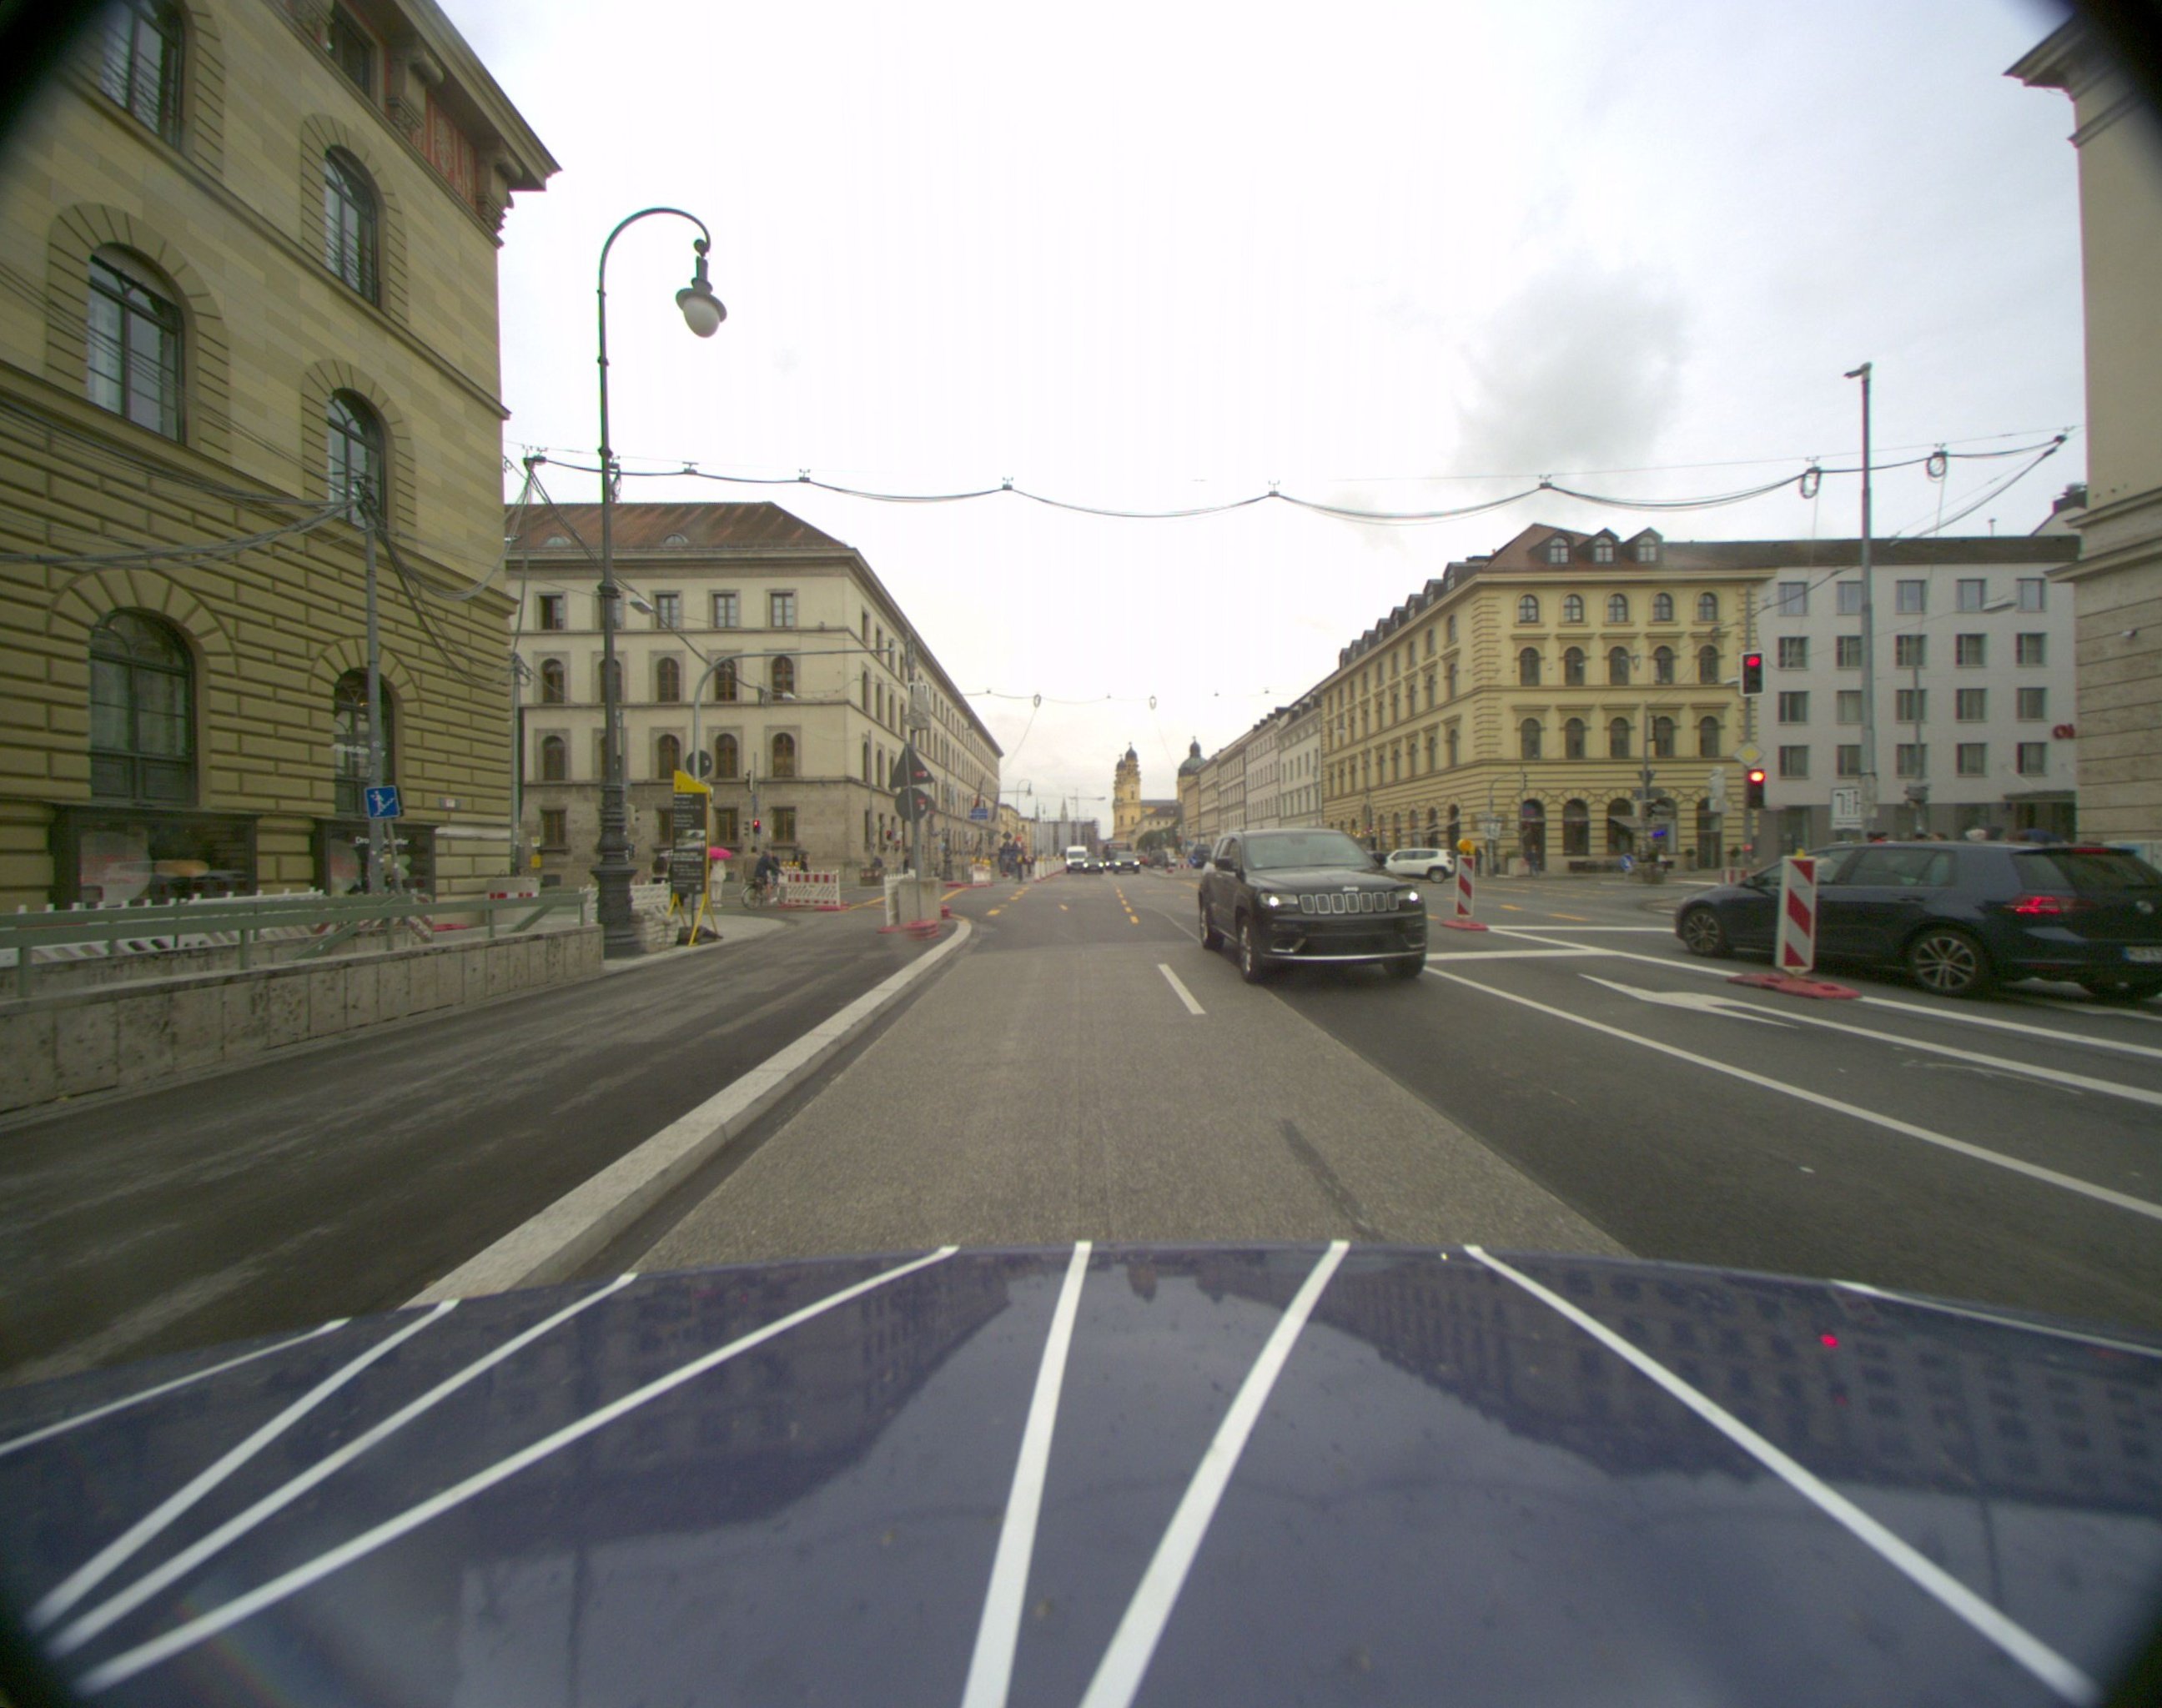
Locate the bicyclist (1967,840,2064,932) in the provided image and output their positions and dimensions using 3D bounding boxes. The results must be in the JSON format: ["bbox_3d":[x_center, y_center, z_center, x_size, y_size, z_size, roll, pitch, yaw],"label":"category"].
[{"bbox_3d":[16.756,0.556,13.645,0.794,1.606,0.746,-1,2,3],"label":"bicyclist"}]

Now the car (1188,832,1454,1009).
[{"bbox_3d":[2.704,0.660,9.819,1.999,1.724,4.585,-1,0,1],"label":"car"}]

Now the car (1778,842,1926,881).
[{"bbox_3d":[32.398,0.296,32.028,4.230,1.515,2.000,-1,0,-1],"label":"car"}]

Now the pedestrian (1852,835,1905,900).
[{"bbox_3d":[21.984,0.351,20.969,0.678,1.746,0.821,-1,2,16],"label":"pedestrian"}]

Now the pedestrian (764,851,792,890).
[{"bbox_3d":[-13.722,0.732,34.410,1.043,1.733,0.513,-1,1,-10],"label":"pedestrian"}]

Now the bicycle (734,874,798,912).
[{"bbox_3d":[-9.356,1.145,22.604,0.585,1.006,1.660,1,2,42],"label":"bicycle"}]

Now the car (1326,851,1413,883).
[{"bbox_3d":[15.423,0.693,40.705,4.223,1.668,1.742,-1,0,22],"label":"car"}]

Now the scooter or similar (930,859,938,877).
[{"bbox_3d":[-10.258,0.966,53.075,0.381,1.138,1.988,-1,1,-6],"label":"scooter or similar"}]

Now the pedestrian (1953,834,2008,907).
[{"bbox_3d":[20.981,0.374,17.736,0.541,1.662,0.618,-1,2,8],"label":"pedestrian"}]

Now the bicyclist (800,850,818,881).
[{"bbox_3d":[-15.860,0.657,44.334,0.688,1.766,0.801,-1,2,4],"label":"bicyclist"}]

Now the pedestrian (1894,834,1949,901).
[{"bbox_3d":[22.225,0.346,20.113,0.817,1.746,0.586,0,2,31],"label":"pedestrian"}]

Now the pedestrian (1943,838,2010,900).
[{"bbox_3d":[22.278,0.361,18.918,0.819,1.519,0.667,-1,2,8],"label":"pedestrian"}]

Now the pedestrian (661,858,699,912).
[{"bbox_3d":[-12.018,0.919,22.799,0.681,1.558,0.705,-1,2,2],"label":"pedestrian"}]

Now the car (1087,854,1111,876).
[{"bbox_3d":[1.503,0.897,63.742,1.800,1.585,3.998,-1,1,-1],"label":"car"}]

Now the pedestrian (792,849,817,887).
[{"bbox_3d":[-13.173,0.644,36.219,0.738,1.762,0.847,-1,2,13],"label":"pedestrian"}]

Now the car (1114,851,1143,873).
[{"bbox_3d":[3.802,0.635,61.474,1.998,1.674,4.000,-1,0,0],"label":"car"}]

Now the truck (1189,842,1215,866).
[{"bbox_3d":[13.942,-0.002,87.829,2.220,2.647,4.783,-1,0,0],"label":"truck"}]

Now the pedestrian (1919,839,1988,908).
[{"bbox_3d":[20.284,0.441,17.678,0.666,1.548,0.820,-1,2,8],"label":"pedestrian"}]

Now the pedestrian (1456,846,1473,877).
[{"bbox_3d":[22.048,0.427,43.698,0.759,1.762,0.737,0,2,21],"label":"pedestrian"}]

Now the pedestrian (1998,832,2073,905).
[{"bbox_3d":[22.563,0.332,17.976,0.819,1.684,0.717,-1,2,1],"label":"pedestrian"}]

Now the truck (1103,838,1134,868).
[{"bbox_3d":[3.978,-0.149,81.758,2.989,2.996,7.142,-1,1,1],"label":"truck"}]

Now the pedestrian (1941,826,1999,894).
[{"bbox_3d":[23.032,0.145,19.703,0.817,1.746,0.586,0,2,31],"label":"pedestrian"}]

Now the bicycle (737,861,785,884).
[{"bbox_3d":[-18.555,1.079,44.149,2.450,1.236,0.788,-2,2,-18],"label":"bicycle"}]

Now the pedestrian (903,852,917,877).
[{"bbox_3d":[-11.851,0.720,52.763,0.738,1.645,0.726,2,1,2],"label":"pedestrian"}]

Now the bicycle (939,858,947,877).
[{"bbox_3d":[-9.644,0.930,53.119,0.381,1.235,1.988,-1,2,-6],"label":"bicycle"}]

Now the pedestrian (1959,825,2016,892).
[{"bbox_3d":[23.976,0.117,20.112,0.584,1.746,0.820,-1,2,14],"label":"pedestrian"}]

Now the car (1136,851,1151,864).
[{"bbox_3d":[8.956,0.503,108.816,1.822,1.710,4.000,-1,0,0],"label":"car"}]

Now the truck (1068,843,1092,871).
[{"bbox_3d":[-0.172,0.255,71.254,2.115,2.466,5.858,-1,0,-1],"label":"truck"}]

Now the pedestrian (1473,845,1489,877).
[{"bbox_3d":[22.823,0.403,43.375,0.737,1.762,0.737,0,2,21],"label":"pedestrian"}]

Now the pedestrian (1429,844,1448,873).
[{"bbox_3d":[21.841,0.271,46.404,0.739,1.762,0.735,-1,2,-10],"label":"pedestrian"}]

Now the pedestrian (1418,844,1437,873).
[{"bbox_3d":[21.090,0.274,46.280,0.739,1.762,0.735,-1,2,-10],"label":"pedestrian"}]

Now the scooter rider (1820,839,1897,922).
[{"bbox_3d":[15.691,0.504,15.362,0.592,1.613,0.935,-1,2,1],"label":"scooter rider"}]

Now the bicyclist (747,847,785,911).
[{"bbox_3d":[-9.363,0.725,22.594,0.566,1.843,0.801,1,3,42],"label":"bicyclist"}]

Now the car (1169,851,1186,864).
[{"bbox_3d":[13.461,0.461,106.568,1.822,1.710,4.000,-1,0,0],"label":"car"}]

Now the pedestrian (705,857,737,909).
[{"bbox_3d":[-11.104,0.891,23.447,0.583,1.558,0.705,-1,2,2],"label":"pedestrian"}]

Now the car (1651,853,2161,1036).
[{"bbox_3d":[8.631,0.726,8.182,1.748,1.380,4.239,0,1,0],"label":"car"}]

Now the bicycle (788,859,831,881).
[{"bbox_3d":[-15.862,0.948,44.346,2.196,1.236,0.789,-1,2,4],"label":"bicycle"}]

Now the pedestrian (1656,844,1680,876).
[{"bbox_3d":[33.036,0.318,42.769,0.735,1.762,0.739,-1,2,1],"label":"pedestrian"}]

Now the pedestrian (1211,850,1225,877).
[{"bbox_3d":[9.128,0.628,50.730,0.736,1.762,0.739,-1,2,-2],"label":"pedestrian"}]

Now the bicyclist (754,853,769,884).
[{"bbox_3d":[-18.541,0.823,44.142,0.689,1.739,0.799,-2,2,-18],"label":"bicyclist"}]

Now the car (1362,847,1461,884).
[{"bbox_3d":[15.635,0.546,36.047,4.222,1.668,1.802,-1,0,24],"label":"car"}]

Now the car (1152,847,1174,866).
[{"bbox_3d":[9.240,0.243,86.058,2.243,2.002,4.451,-1,0,4],"label":"car"}]

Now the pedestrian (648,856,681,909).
[{"bbox_3d":[-12.988,0.888,23.726,0.673,1.611,0.533,-1,2,2],"label":"pedestrian"}]

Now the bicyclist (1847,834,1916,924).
[{"bbox_3d":[16.789,0.500,15.953,0.660,1.832,0.746,-1,2,3],"label":"bicyclist"}]

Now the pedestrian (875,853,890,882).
[{"bbox_3d":[-11.242,0.756,43.108,0.739,1.645,0.725,2,1,-13],"label":"pedestrian"}]

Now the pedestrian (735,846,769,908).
[{"bbox_3d":[-10.124,0.701,23.412,0.640,1.874,0.705,-1,2,5],"label":"pedestrian"}]
